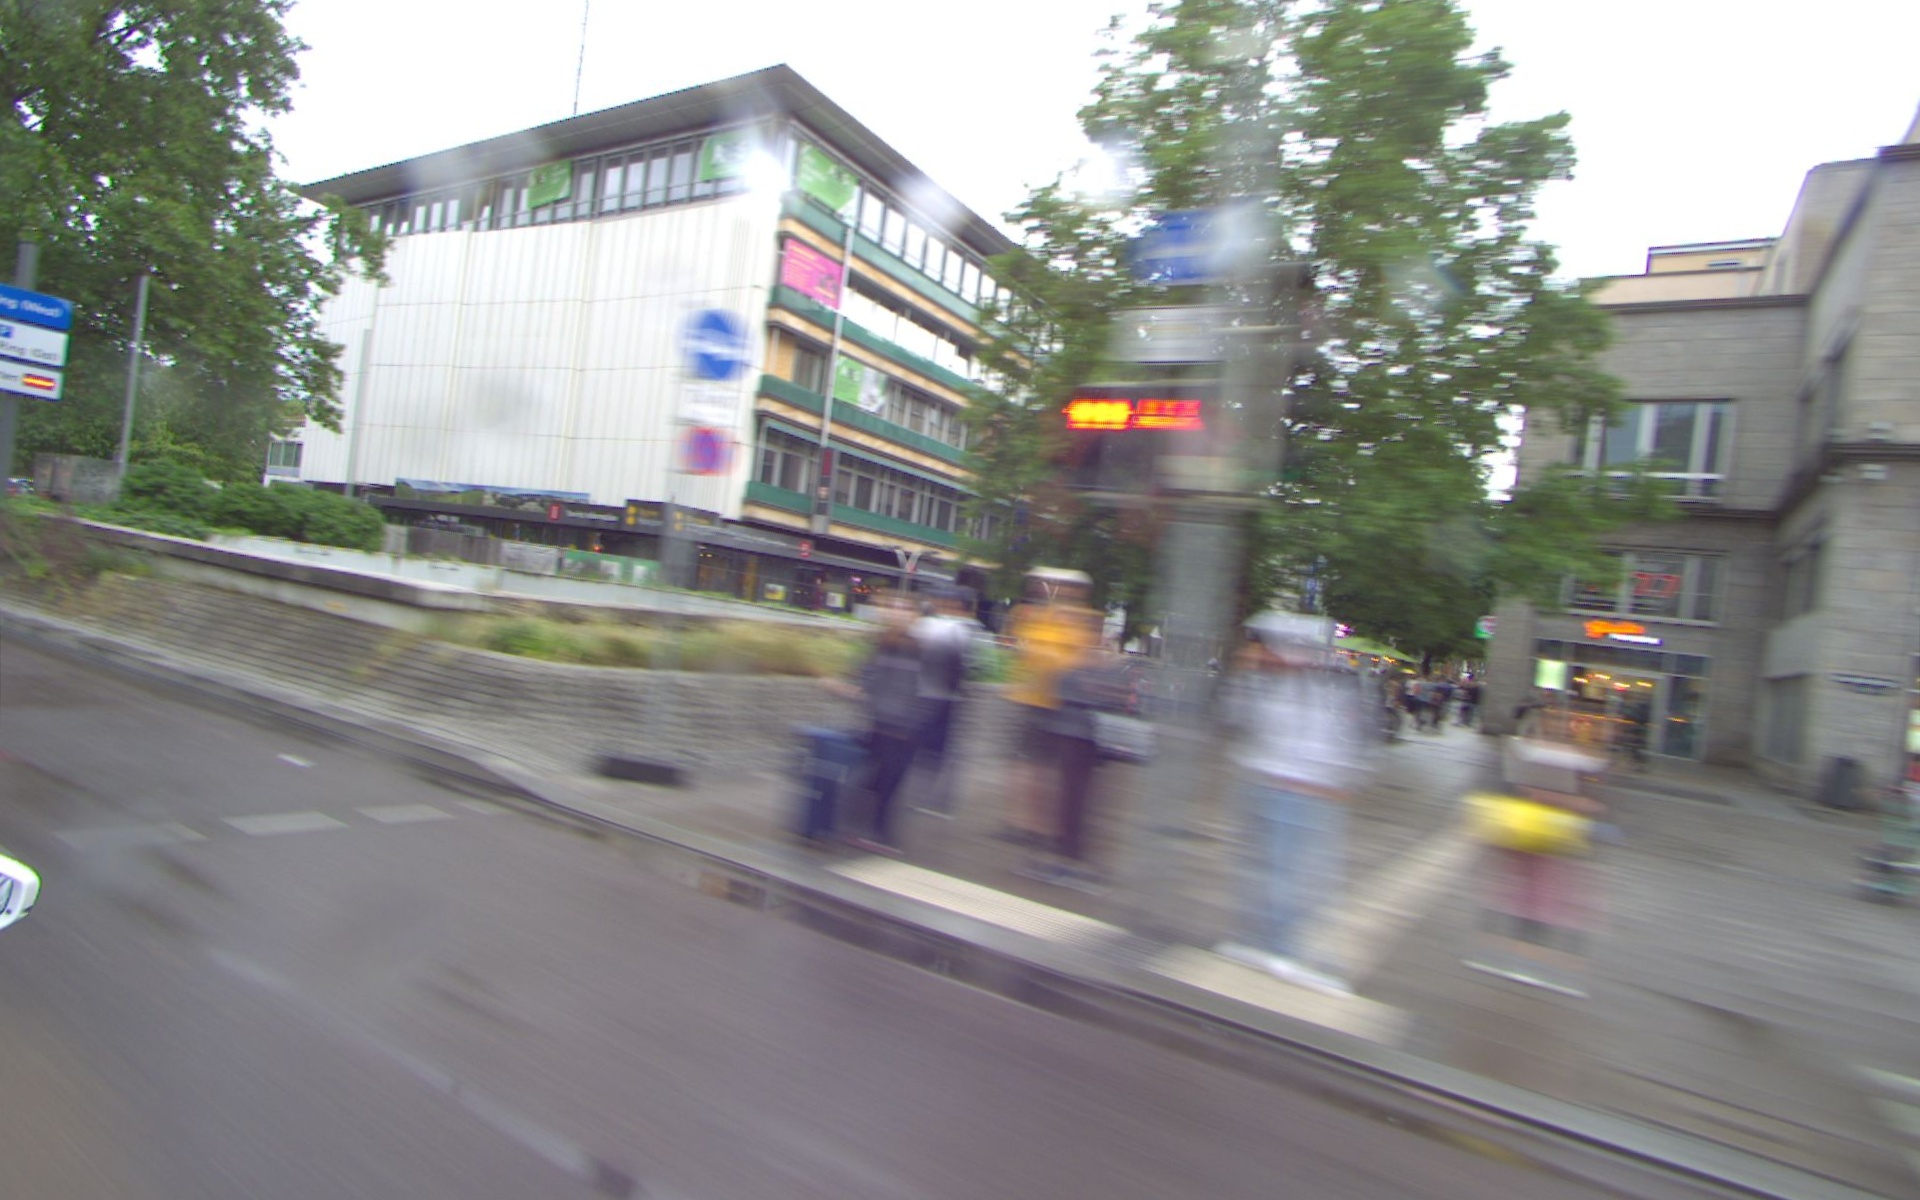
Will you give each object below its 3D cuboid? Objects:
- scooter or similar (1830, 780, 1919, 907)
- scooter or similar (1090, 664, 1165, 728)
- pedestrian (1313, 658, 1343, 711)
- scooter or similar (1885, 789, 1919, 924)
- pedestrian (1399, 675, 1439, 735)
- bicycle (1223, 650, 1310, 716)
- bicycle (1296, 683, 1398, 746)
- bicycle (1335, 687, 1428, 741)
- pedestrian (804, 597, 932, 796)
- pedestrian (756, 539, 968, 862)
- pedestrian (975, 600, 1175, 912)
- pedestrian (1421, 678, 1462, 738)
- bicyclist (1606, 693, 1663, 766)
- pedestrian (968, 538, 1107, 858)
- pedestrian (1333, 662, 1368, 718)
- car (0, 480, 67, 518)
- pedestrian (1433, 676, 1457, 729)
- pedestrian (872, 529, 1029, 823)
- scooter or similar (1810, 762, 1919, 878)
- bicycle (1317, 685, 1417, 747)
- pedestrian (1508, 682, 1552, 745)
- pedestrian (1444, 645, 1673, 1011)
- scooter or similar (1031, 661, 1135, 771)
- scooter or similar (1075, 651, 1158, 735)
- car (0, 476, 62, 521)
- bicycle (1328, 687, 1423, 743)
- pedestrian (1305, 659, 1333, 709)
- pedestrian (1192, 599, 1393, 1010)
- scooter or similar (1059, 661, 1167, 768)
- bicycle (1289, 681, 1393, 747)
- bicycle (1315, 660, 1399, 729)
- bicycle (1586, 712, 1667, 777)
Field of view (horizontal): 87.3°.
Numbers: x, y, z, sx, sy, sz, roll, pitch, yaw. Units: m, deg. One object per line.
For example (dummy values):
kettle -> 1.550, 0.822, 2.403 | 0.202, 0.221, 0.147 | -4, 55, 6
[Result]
scooter or similar -> 10.065, 2.644, 10.923 | 1.086, 1.231, 0.473 | 8, -1, -27
scooter or similar -> 3.278, 1.871, 19.700 | 1.292, 1.048, 0.477 | 7, 1, 20
pedestrian -> 14.929, 3.433, 40.881 | 0.835, 2.037, 0.987 | 7, -1, 16
scooter or similar -> 10.009, 2.622, 10.181 | 1.351, 1.264, 0.435 | 8, -1, -28
pedestrian -> 13.859, 3.157, 30.387 | 0.699, 1.687, 0.771 | 7, -1, 3
bicycle -> 8.845, 2.385, 29.085 | 2.100, 1.581, 0.792 | 7, 0, 40
bicycle -> 8.880, 2.606, 23.159 | 1.995, 1.116, 0.615 | 7, 2, 40
bicycle -> 10.601, 2.838, 25.327 | 1.967, 1.039, 0.615 | 7, 2, 40
pedestrian -> -0.783, 0.819, 8.575 | 0.654, 1.573, 0.626 | 8, -2, -44
pedestrian -> -0.615, 0.619, 6.552 | 0.932, 1.861, 0.789 | 7, 0, 18
pedestrian -> 0.733, 0.921, 6.280 | 0.746, 1.711, 0.876 | 7, 0, 32
pedestrian -> 14.612, 3.266, 30.559 | 0.699, 1.687, 0.771 | 7, -1, 3
bicyclist -> 16.036, 3.063, 23.934 | 0.639, 1.573, 0.908 | 6, 0, 6
pedestrian -> 0.575, 0.690, 7.335 | 0.655, 2.172, 0.556 | 7, 0, 18
pedestrian -> 13.925, 3.217, 35.903 | 0.821, 1.885, 0.820 | 7, -1, 33
car -> -59.526, -6.463, 63.965 | 1.919, 1.801, 4.448 | 8, -2, -11
pedestrian -> 15.783, 3.326, 32.751 | 0.434, 1.658, 0.460 | 7, -1, 13
pedestrian -> -0.076, 0.579, 7.950 | 0.706, 2.172, 0.712 | 7, 0, -45
scooter or similar -> 12.113, 2.866, 12.900 | 1.718, 1.275, 0.622 | 7, -1, 5
bicycle -> 9.598, 2.714, 23.757 | 1.995, 1.116, 0.615 | 7, 2, 40
pedestrian -> 17.189, 3.412, 30.331 | 0.854, 1.786, 0.702 | 6, 1, 42
pedestrian -> 3.278, 1.210, 5.566 | 0.743, 1.827, 0.541 | 7, 0, 4
scooter or similar -> 1.569, 1.473, 12.906 | 1.139, 1.230, 0.352 | 7, -2, 31
scooter or similar -> 2.874, 1.702, 18.470 | 1.292, 1.347, 0.410 | 7, -1, 20
car -> -53.596, -5.816, 56.840 | 2.100, 2.036, 4.638 | 8, -2, -14
bicycle -> 10.179, 2.800, 24.710 | 1.967, 1.069, 0.615 | 7, 2, 40
pedestrian -> 15.342, 3.578, 42.996 | 0.835, 2.037, 0.987 | 7, -1, 16
pedestrian -> 1.666, 0.962, 5.091 | 0.696, 1.827, 0.748 | 7, 0, 18
scooter or similar -> 2.121, 1.576, 13.941 | 1.292, 1.273, 0.374 | 7, -1, 20
bicycle -> 8.442, 2.511, 22.339 | 1.967, 1.133, 0.615 | 7, 2, 40
bicycle -> 11.292, 2.669, 28.642 | 1.967, 1.653, 0.615 | 7, 0, 40
bicycle -> 16.054, 3.444, 24.282 | 0.649, 1.270, 2.015 | 7, -1, 6
